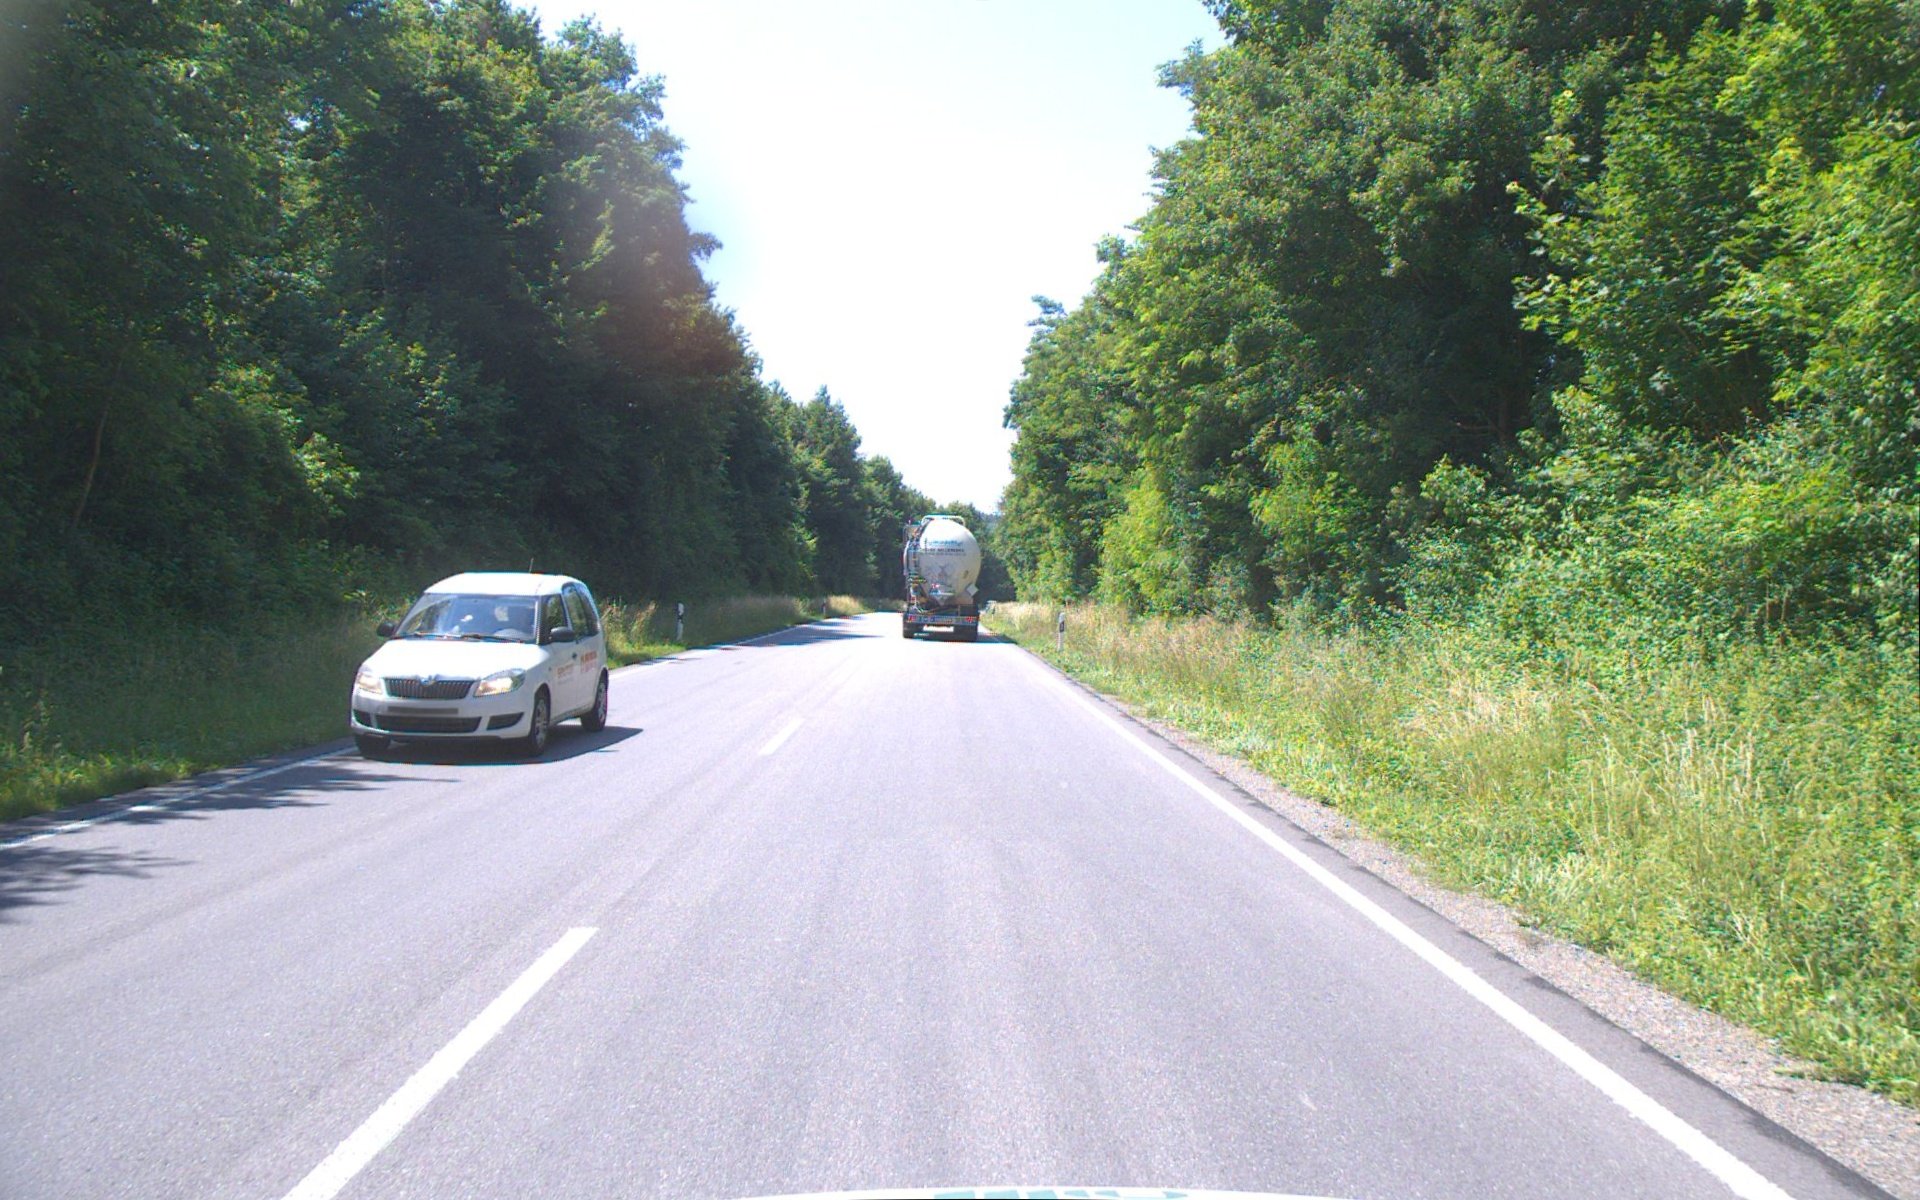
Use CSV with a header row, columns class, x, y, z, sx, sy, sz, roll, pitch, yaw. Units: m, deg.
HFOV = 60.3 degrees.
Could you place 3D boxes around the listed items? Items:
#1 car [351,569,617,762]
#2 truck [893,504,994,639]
class,x,y,z,sx,sy,sz,roll,pitch,yaw
car,-4.432,0.543,15.939,1.482,1.620,3.793,1,0,0
truck,-0.671,-0.883,59.530,2.988,4.068,15.632,3,0,-1
